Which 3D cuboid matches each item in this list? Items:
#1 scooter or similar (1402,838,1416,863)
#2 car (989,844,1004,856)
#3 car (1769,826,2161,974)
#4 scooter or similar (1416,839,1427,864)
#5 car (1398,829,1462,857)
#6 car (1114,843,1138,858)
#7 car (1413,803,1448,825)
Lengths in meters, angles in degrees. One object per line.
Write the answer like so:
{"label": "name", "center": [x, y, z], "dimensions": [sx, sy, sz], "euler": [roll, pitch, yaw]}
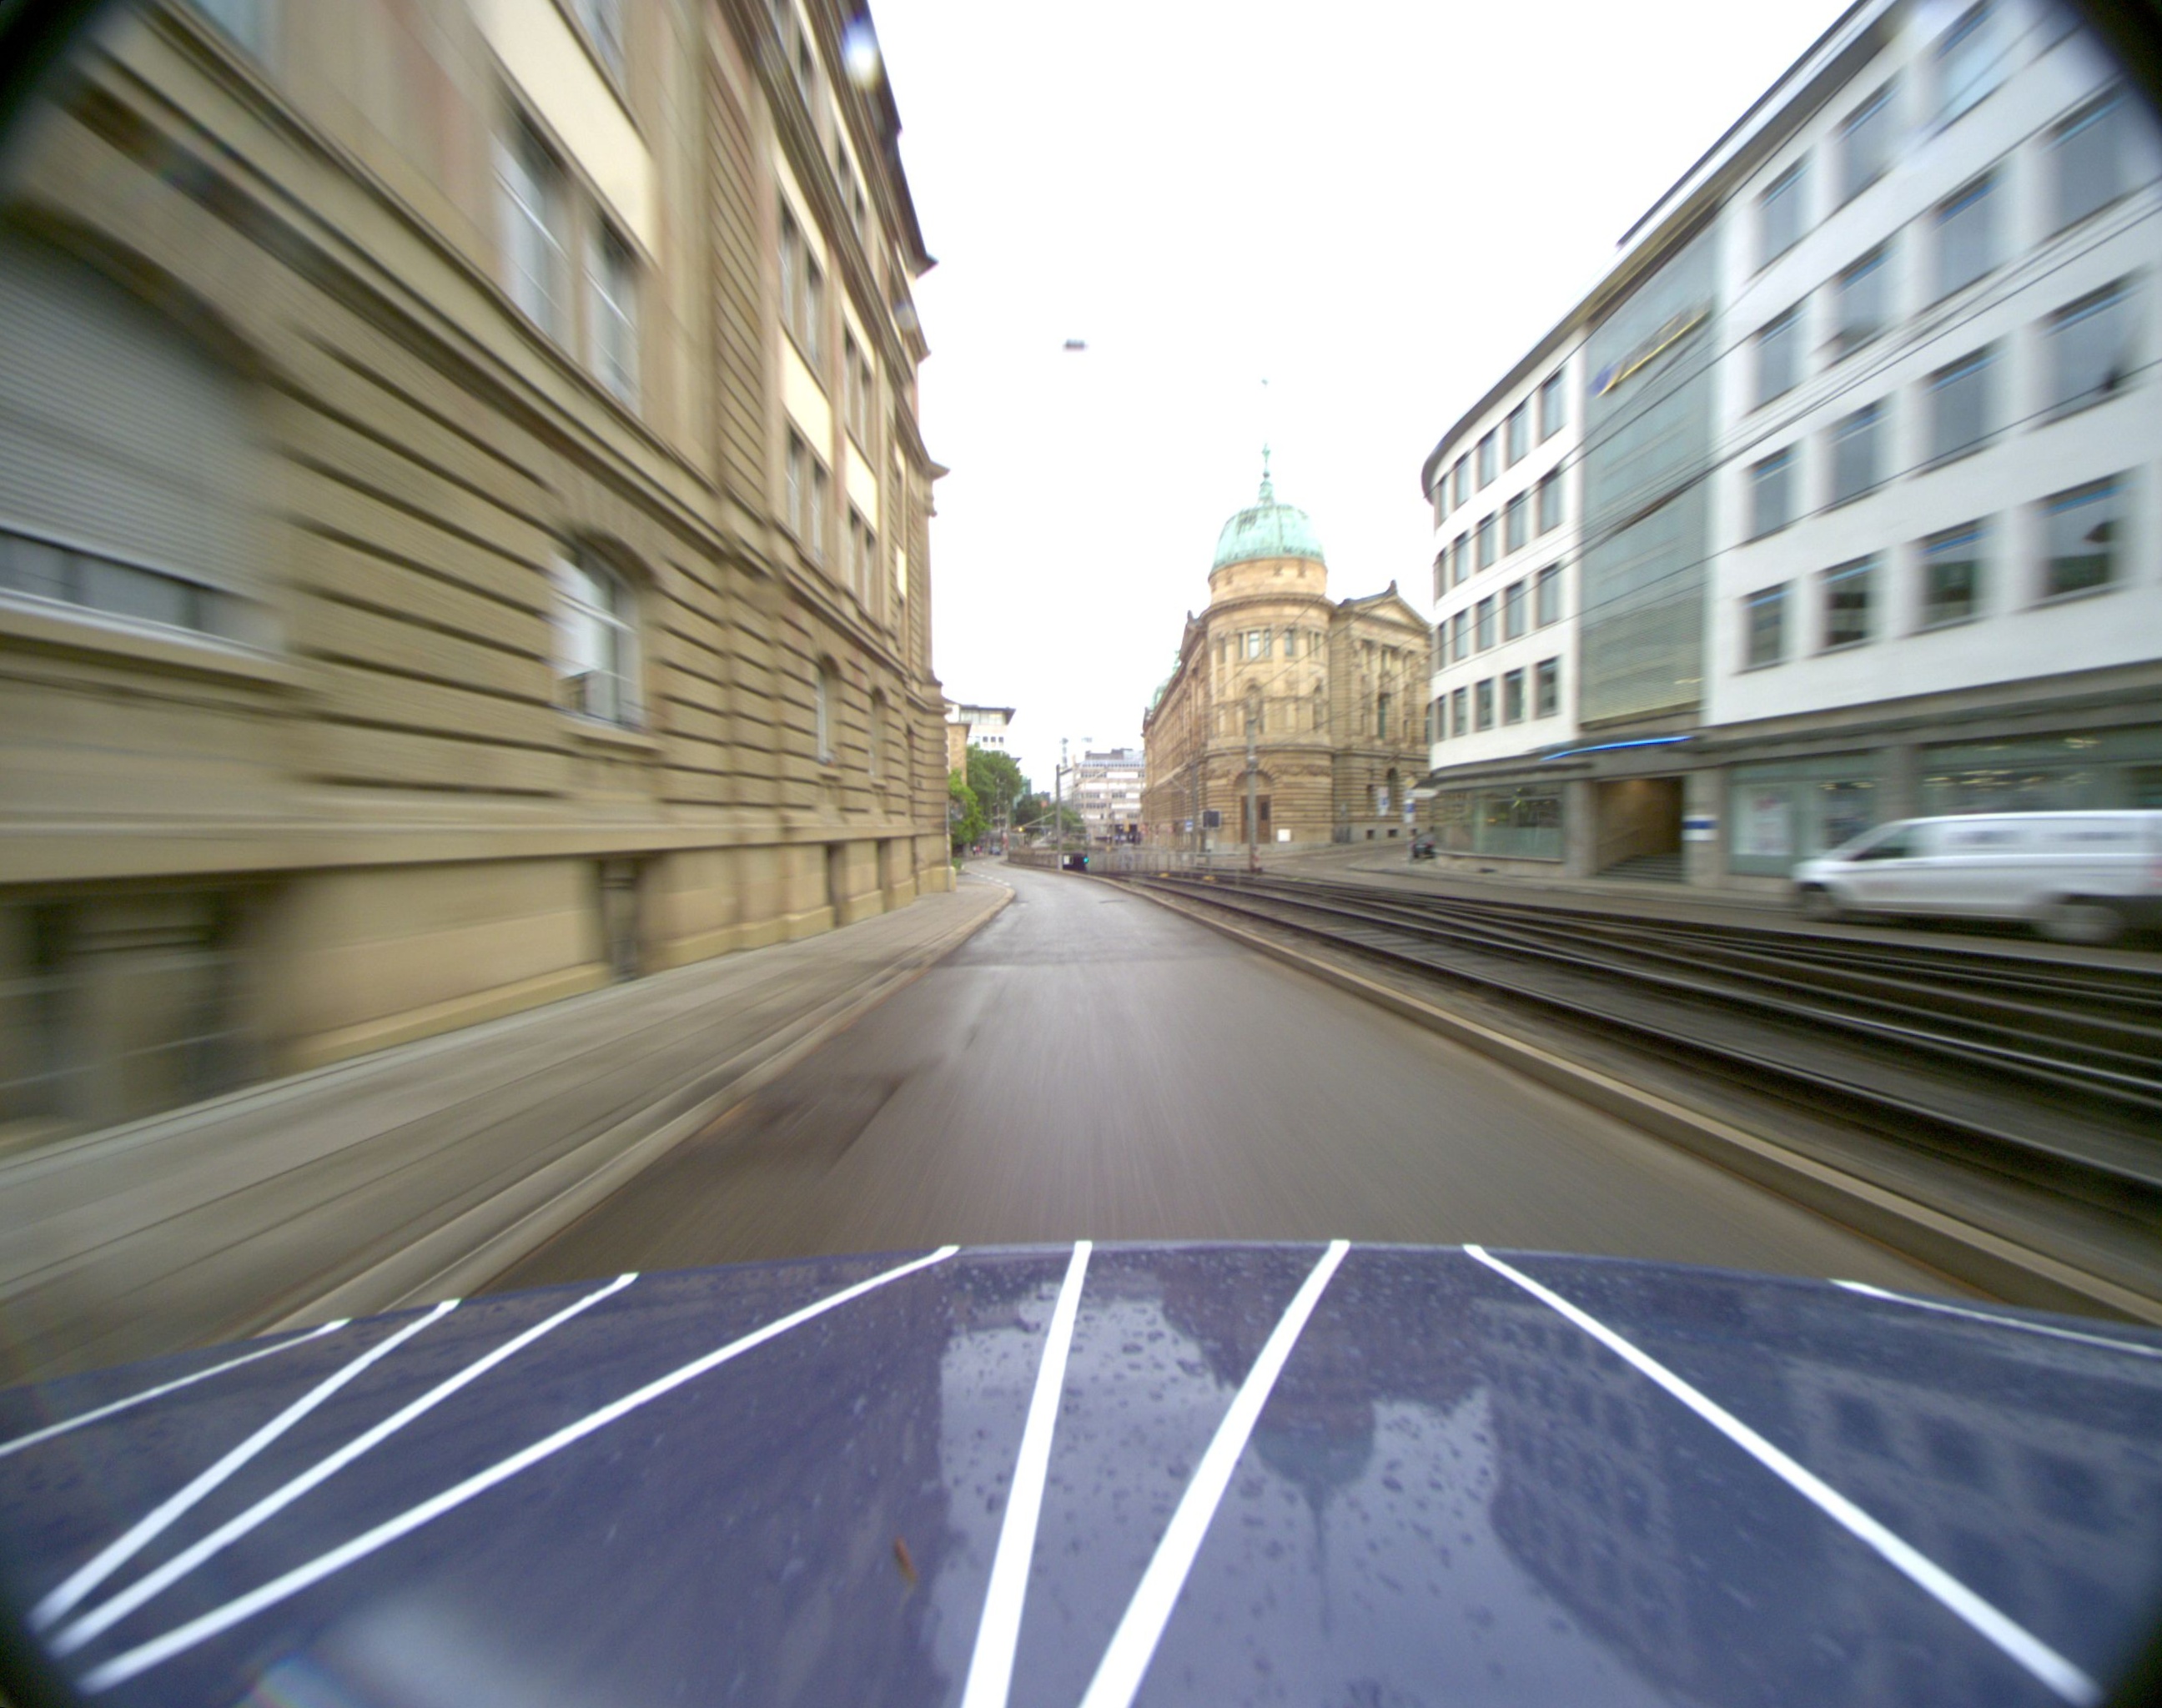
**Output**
{"label": "scooter or similar", "center": [17.239, -0.194, 39.947], "dimensions": [0.410, 1.194, 1.561], "euler": [-2, 2, 13]}
{"label": "car", "center": [-14.390, -0.697, 129.371], "dimensions": [2.000, 1.806, 3.995], "euler": [-3, 2, -11]}
{"label": "car", "center": [14.205, 0.502, 11.852], "dimensions": [1.999, 1.832, 5.127], "euler": [0, 2, -4]}
{"label": "scooter or similar", "center": [17.733, -0.145, 39.588], "dimensions": [0.410, 1.194, 1.562], "euler": [-1, 3, 20]}
{"label": "car", "center": [20.295, -0.642, 44.069], "dimensions": [4.334, 1.390, 1.780], "euler": [-4, 3, -42]}
{"label": "car", "center": [5.011, -0.400, 84.482], "dimensions": [1.999, 1.379, 3.996], "euler": [-3, 2, -5]}
{"label": "car", "center": [28.755, -3.309, 62.502], "dimensions": [1.994, 1.631, 4.006], "euler": [-1, 3, 34]}
